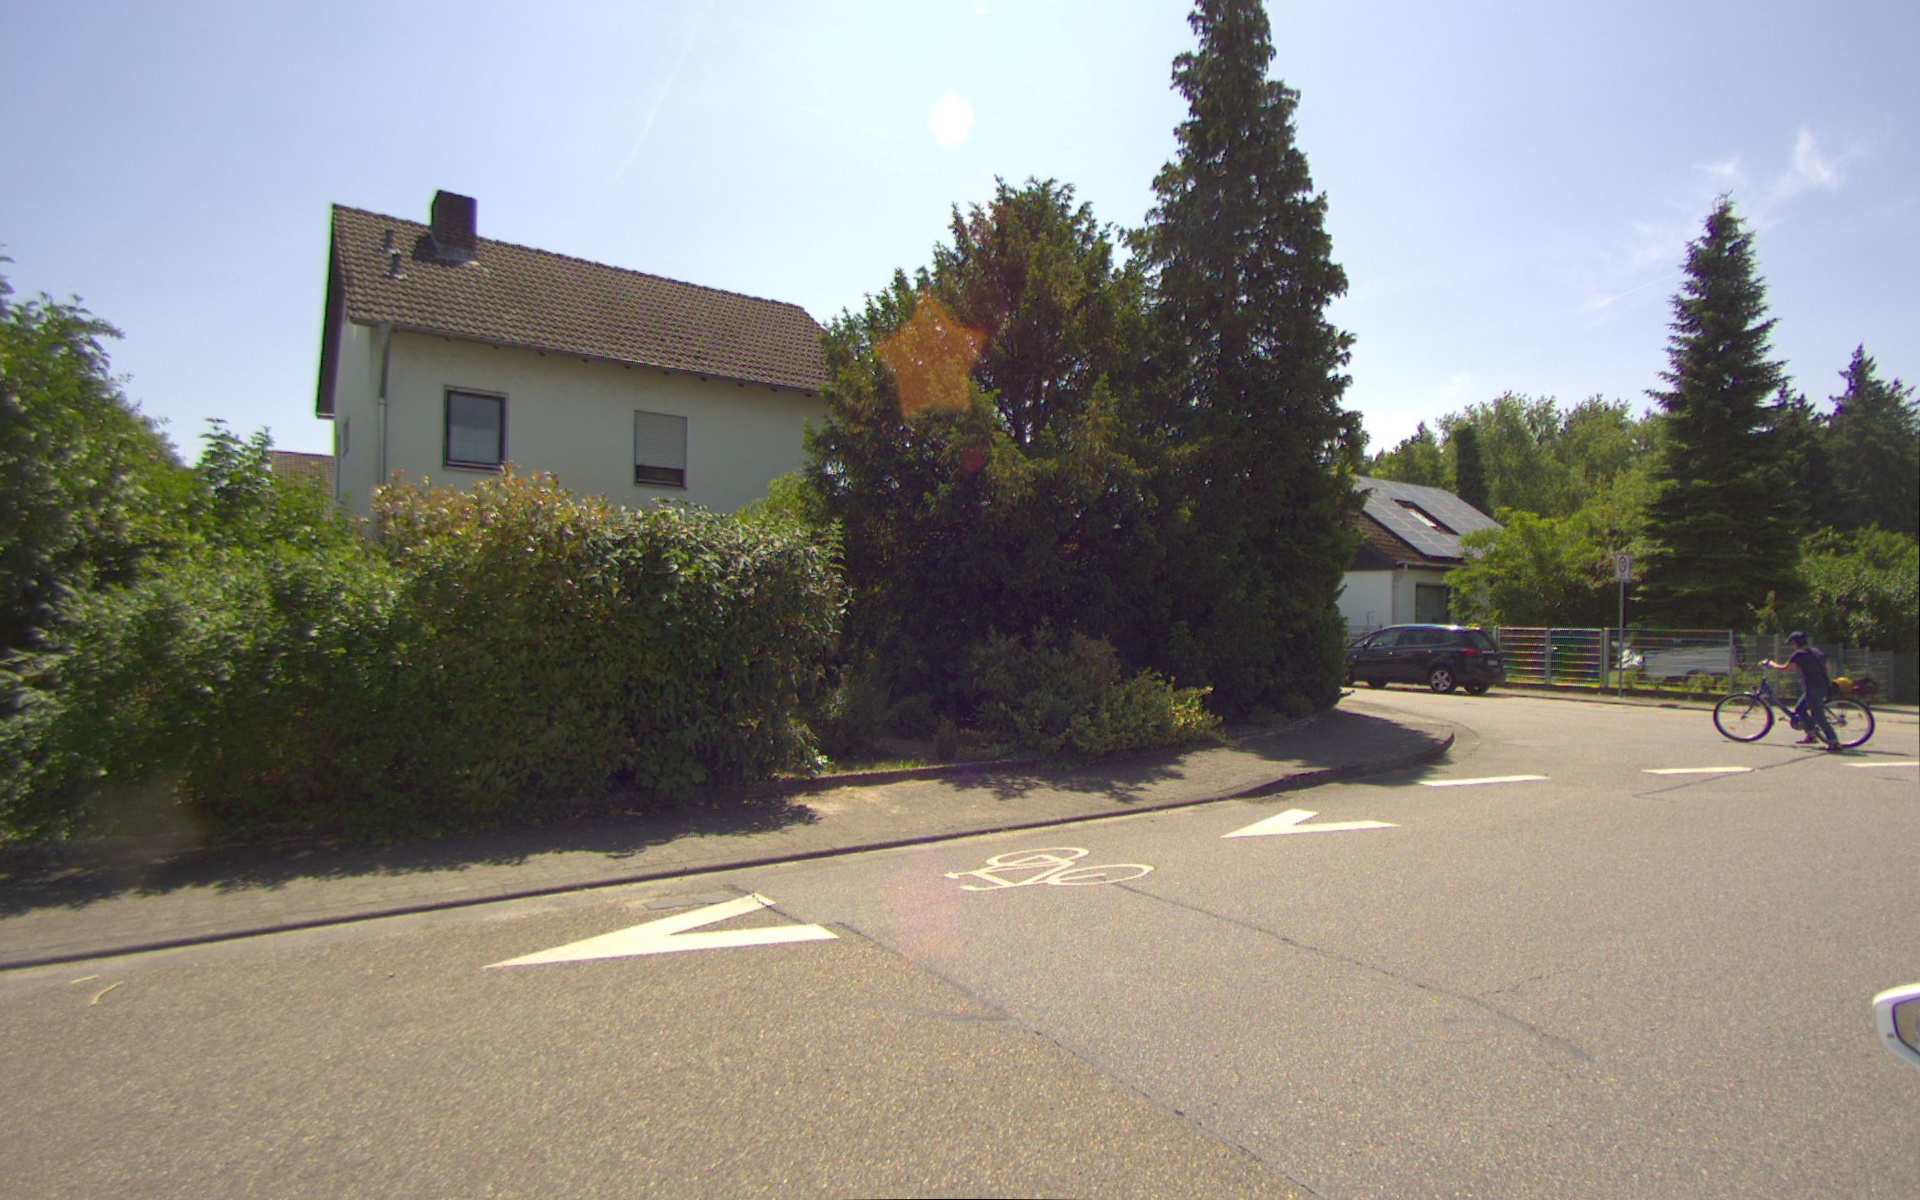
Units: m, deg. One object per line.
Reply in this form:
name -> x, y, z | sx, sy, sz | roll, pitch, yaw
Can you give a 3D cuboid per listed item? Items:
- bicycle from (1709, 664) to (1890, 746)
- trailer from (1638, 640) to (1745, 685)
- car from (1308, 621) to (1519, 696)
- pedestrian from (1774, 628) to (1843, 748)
bicycle -> 11.278, 1.393, 13.562 | 1.815, 0.976, 0.442 | 0, -1, 30
trailer -> 19.724, 1.651, 27.116 | 1.098, 1.098, 2.194 | 1, -1, -43
car -> 11.510, 1.422, 25.816 | 1.949, 1.684, 4.638 | 1, -1, -34
pedestrian -> 11.082, 1.127, 13.138 | 0.601, 1.520, 0.503 | 1, -1, 31
